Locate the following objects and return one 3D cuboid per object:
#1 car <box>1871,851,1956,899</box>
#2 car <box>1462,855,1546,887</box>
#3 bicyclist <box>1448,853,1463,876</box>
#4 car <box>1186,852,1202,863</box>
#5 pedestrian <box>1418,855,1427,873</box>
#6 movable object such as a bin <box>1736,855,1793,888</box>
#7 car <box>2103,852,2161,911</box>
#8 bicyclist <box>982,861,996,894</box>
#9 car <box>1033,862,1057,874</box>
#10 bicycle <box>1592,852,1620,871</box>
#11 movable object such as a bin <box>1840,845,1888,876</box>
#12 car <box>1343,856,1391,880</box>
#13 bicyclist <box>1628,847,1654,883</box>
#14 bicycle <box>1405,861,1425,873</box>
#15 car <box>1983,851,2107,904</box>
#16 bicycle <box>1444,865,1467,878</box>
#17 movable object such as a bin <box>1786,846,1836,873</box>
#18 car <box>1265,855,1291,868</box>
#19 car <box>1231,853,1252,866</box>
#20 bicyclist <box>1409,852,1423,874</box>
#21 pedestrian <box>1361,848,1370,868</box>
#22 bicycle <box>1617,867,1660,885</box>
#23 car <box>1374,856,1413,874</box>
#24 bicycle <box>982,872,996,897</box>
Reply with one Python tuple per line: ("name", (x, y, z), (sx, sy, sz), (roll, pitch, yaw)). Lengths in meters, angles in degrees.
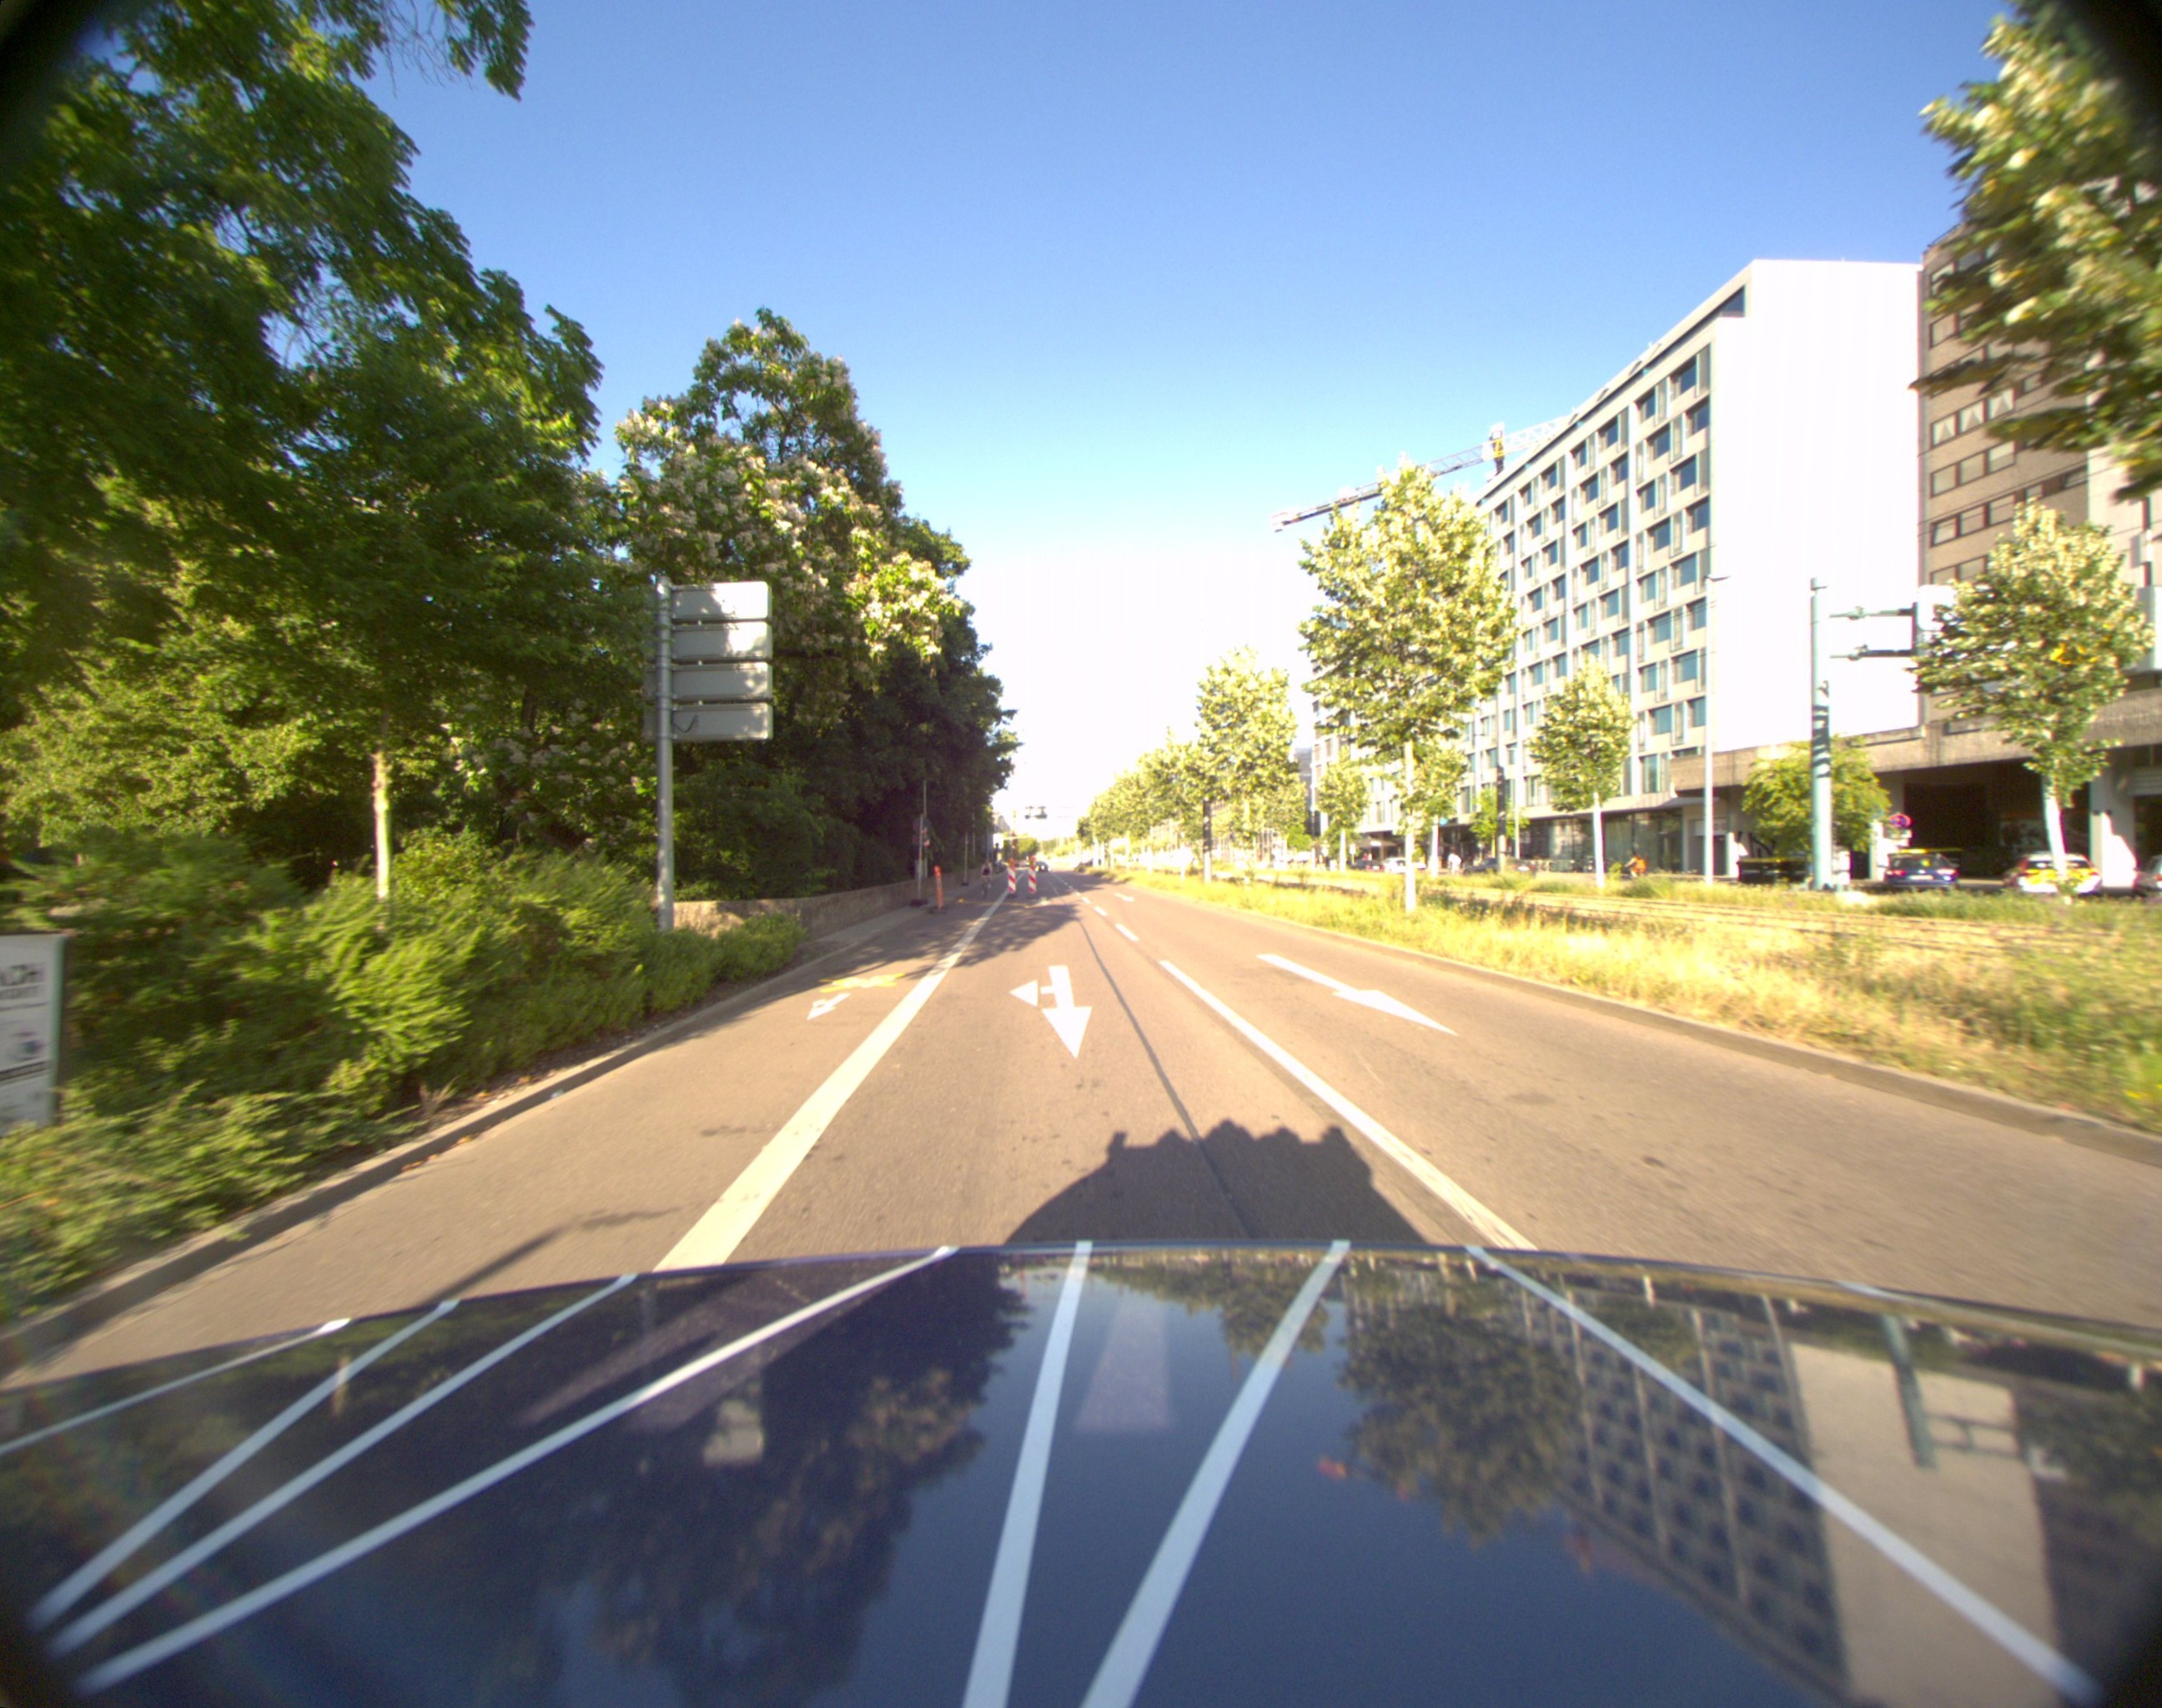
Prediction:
("car", (30.518, 0.727, 27.956), (1.617, 1.436, 4.556), (-2, 1, 42))
("car", (23.481, 0.888, 42.390), (1.875, 1.579, 4.637), (-3, 1, -3))
("bicyclist", (26.353, 0.724, 53.483), (0.539, 1.647, 0.919), (-1, 0, -5))
("car", (19.073, 0.502, 128.258), (1.875, 1.742, 3.791), (-3, 1, -3))
("pedestrian", (30.900, 0.883, 68.750), (0.479, 1.626, 0.597), (-1, 0, -3))
("movable object such as a bin", (29.442, 0.735, 32.749), (1.390, 1.363, 1.171), (-1, 0, -5))
("car", (30.954, 0.731, 21.603), (1.617, 1.436, 3.800), (-2, 1, 43))
("bicyclist", (-3.940, 1.000, 32.499), (0.516, 1.399, 0.805), (-1, 0, -4))
("car", (-4.526, 1.708, 94.619), (2.001, 1.346, 3.994), (-1, 0, -17))
("bicycle", (36.001, 0.515, 52.121), (0.395, 1.223, 1.718), (-1, 0, -13))
("movable object such as a bin", (36.238, 0.302, 35.175), (1.121, 1.363, 1.090), (-1, 0, -5))
("car", (22.662, 1.055, 60.370), (1.875, 1.692, 4.486), (-3, 1, -3))
("bicyclist", (27.439, 0.526, 37.212), (0.559, 1.735, 0.919), (-1, 0, -5))
("bicycle", (25.113, 0.991, 57.113), (0.437, 0.857, 2.102), (-1, 0, -5))
("car", (30.648, 0.709, 24.278), (1.785, 1.436, 3.809), (-2, 1, 42))
("bicycle", (26.422, 1.214, 53.679), (0.437, 0.857, 2.102), (-1, 0, -5))
("movable object such as a bin", (36.929, 0.283, 38.458), (1.390, 1.326, 1.233), (-1, 0, -5))
("car", (21.781, 0.811, 84.228), (1.613, 1.370, 3.878), (-3, 1, -3))
("car", (22.355, 0.752, 105.882), (1.875, 1.582, 3.481), (-3, 1, -3))
("bicyclist", (25.122, 0.673, 56.979), (0.539, 1.647, 0.919), (-1, 0, -5))
("pedestrian", (29.925, 0.427, 80.024), (0.622, 2.002, 0.725), (-1, 0, -3))
("bicycle", (27.378, 1.075, 37.363), (0.437, 0.857, 2.102), (-1, 0, -5))
("car", (27.501, 0.938, 66.905), (1.875, 1.457, 3.388), (-3, 1, -3))
("bicycle", (-3.921, 1.293, 32.475), (0.506, 1.018, 1.505), (-1, 0, -3))
